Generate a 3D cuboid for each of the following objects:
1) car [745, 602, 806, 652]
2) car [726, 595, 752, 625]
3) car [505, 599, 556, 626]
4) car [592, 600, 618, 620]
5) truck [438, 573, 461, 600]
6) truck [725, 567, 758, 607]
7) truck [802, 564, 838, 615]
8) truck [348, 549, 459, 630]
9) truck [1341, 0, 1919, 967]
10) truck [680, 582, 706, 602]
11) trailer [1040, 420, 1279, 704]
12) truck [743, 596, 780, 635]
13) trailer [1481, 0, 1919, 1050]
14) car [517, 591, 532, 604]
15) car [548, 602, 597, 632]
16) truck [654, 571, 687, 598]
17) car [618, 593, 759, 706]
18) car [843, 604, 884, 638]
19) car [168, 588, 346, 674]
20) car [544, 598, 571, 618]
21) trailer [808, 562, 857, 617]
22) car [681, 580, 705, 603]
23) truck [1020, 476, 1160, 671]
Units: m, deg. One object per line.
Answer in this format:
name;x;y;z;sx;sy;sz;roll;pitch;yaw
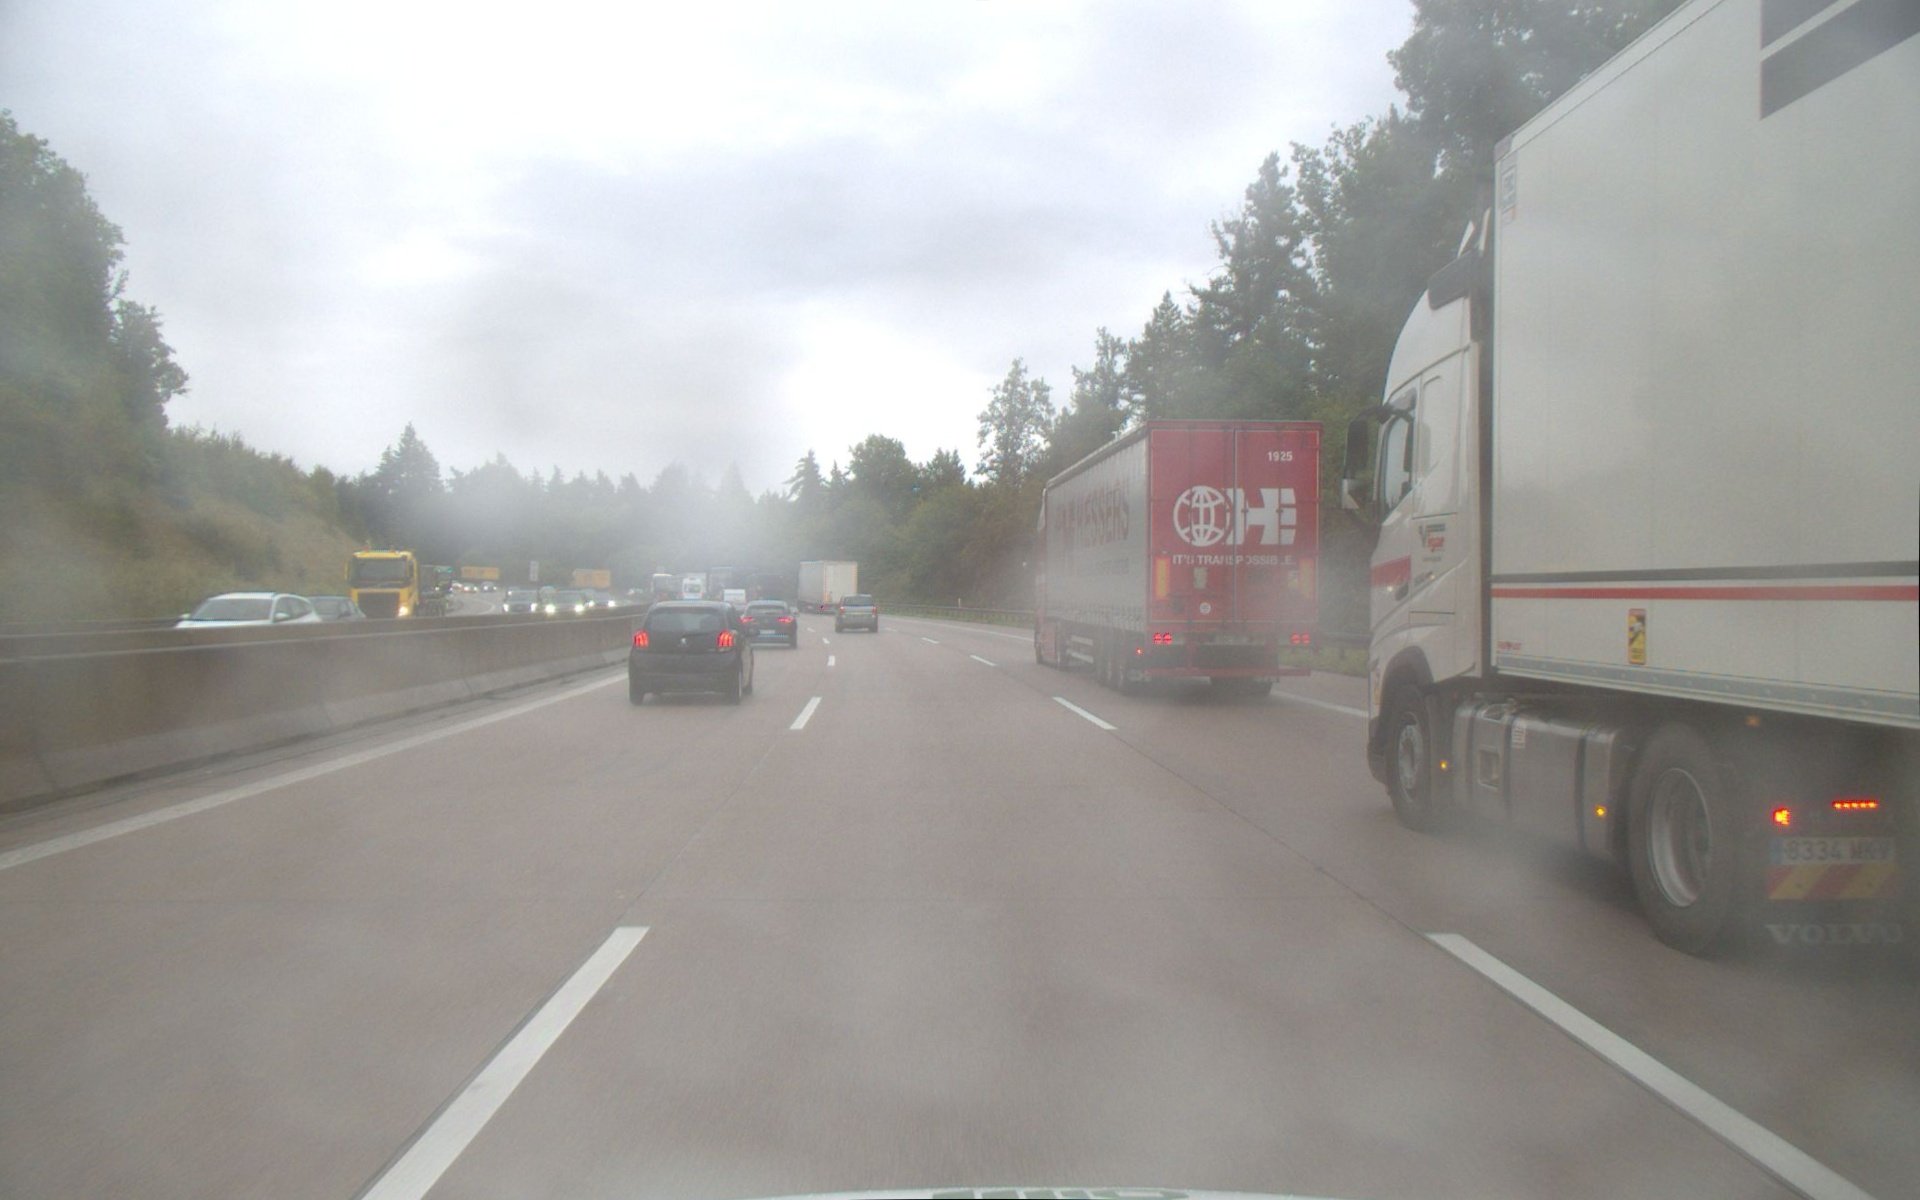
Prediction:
car;-5.504;0.779;49.610;1.523;1.375;3.681;3;0;-3
car;-15.221;0.657;113.854;1.692;2.049;3.652;0;0;-6
car;-22.609;0.640;87.153;1.769;1.370;4.762;1;0;-5
car;-25.031;0.686;116.751;1.623;1.370;4.076;1;0;-10
truck;-76.556;-1.993;247.948;2.878;4.030;8.087;0;0;-14
truck;-24.070;-1.461;182.183;3.307;4.203;10.416;1;1;-9
truck;-11.612;-0.892;137.323;2.377;4.139;4.964;1;1;-11
truck;-24.611;-0.429;73.632;2.571;3.354;9.372;0;0;-5
truck;4.372;-0.592;9.744;2.742;4.175;5.966;1;0;-1
truck;-34.282;-1.022;212.497;2.922;2.350;6.648;3;0;-12
trailer;3.159;-0.546;29.886;2.323;4.023;12.515;1;0;-2
truck;-16.814;1.278;139.619;2.230;2.937;7.878;1;1;-13
trailer;4.575;-0.588;2.925;2.679;4.175;13.678;1;0;-1
car;-56.024;-0.346;212.893;1.778;1.713;3.985;0;0;-14
car;-18.108;0.778;77.421;1.621;1.370;4.082;1;0;-5
truck;-34.535;-1.905;197.115;3.033;2.956;7.869;1;1;-16
car;-3.982;0.685;24.767;1.650;1.488;3.681;3;0;-4
car;-4.137;0.882;71.126;1.522;1.375;3.683;3;0;-1
car;-13.242;0.551;31.458;1.620;1.504;4.542;1;0;-3
car;-29.020;0.570;119.395;1.623;1.370;4.075;1;0;-10
trailer;-10.108;-0.888;130.167;2.377;4.139;12.021;1;1;-11
car;-25.510;-0.798;157.833;1.960;2.095;3.985;0;0;-14
truck;2.815;-0.552;37.351;2.327;4.023;6.156;1;0;-3
